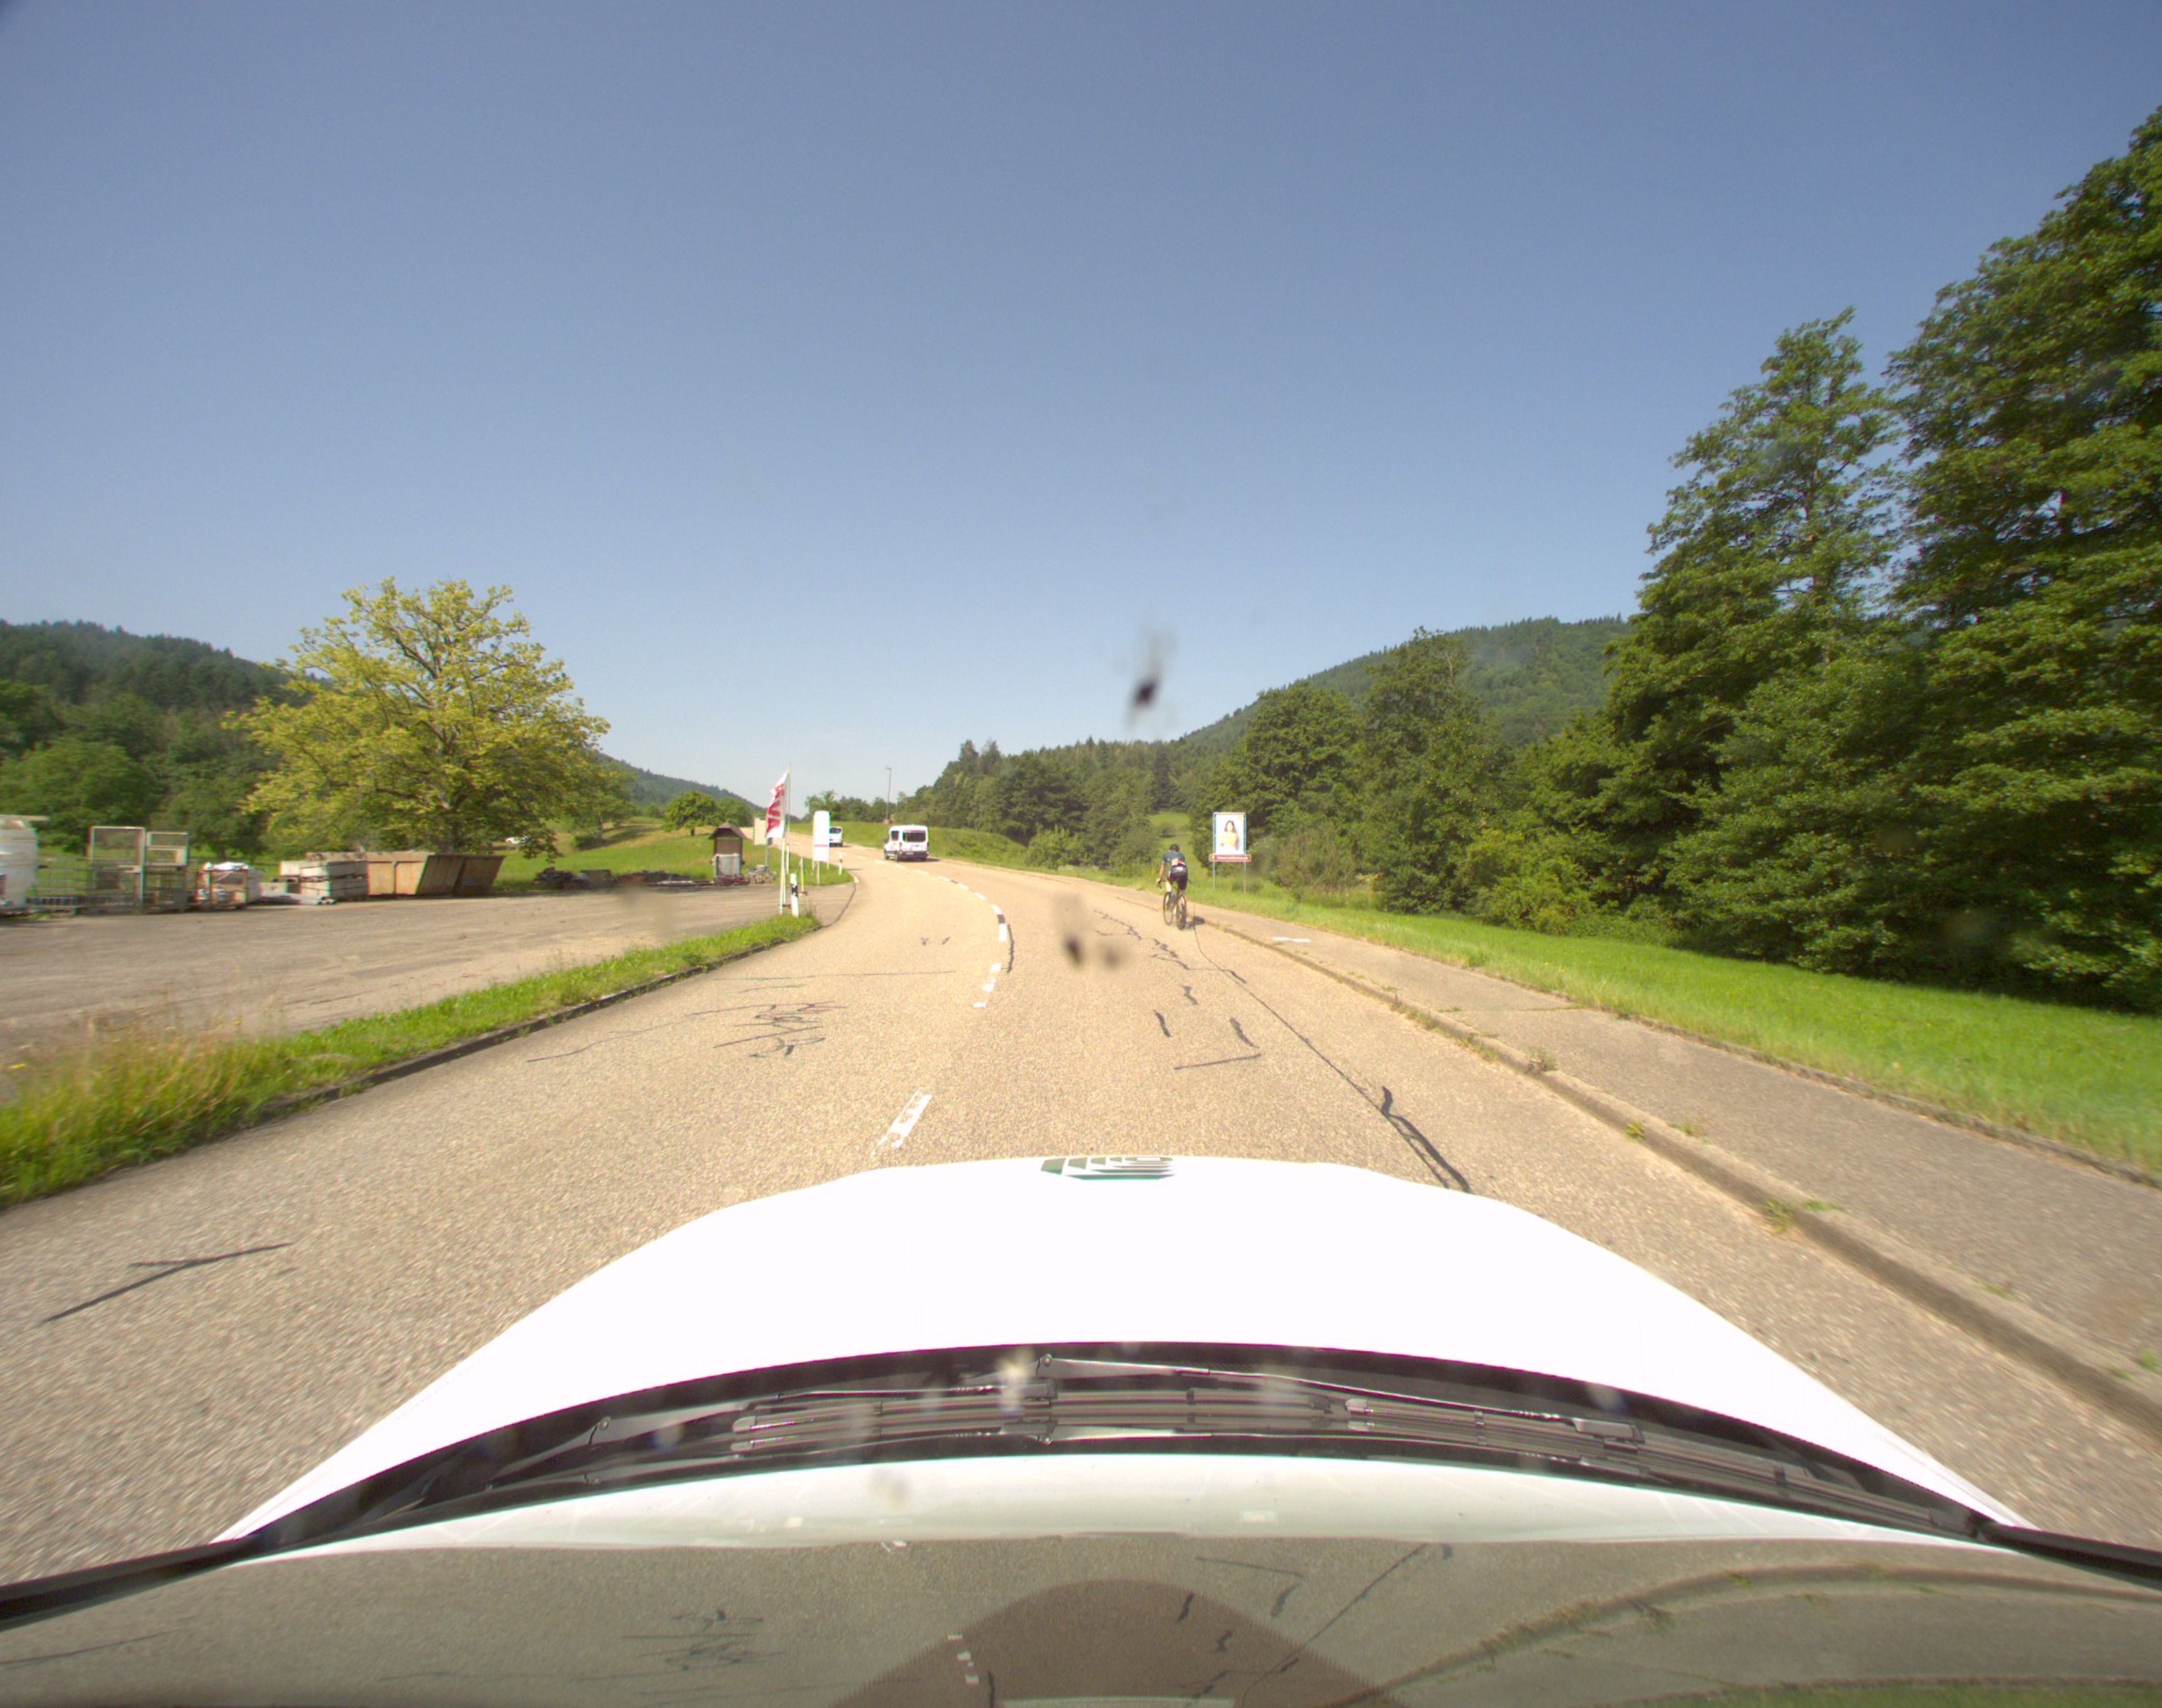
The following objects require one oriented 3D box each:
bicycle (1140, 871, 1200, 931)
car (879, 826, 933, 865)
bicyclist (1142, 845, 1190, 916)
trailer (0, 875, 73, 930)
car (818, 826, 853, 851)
[{"bbox_3d":[1.746,0.901,16.334,0.580,1.035,1.983,-3,1,-12],"label":"bicycle"},{"bbox_3d":[-12.126,-0.616,56.219,2.236,2.525,4.938,-3,2,-29],"label":"car"},{"bbox_3d":[1.680,0.499,16.144,0.580,1.342,1.140,-3,1,-12],"label":"bicyclist"},{"bbox_3d":[-21.382,0.836,14.797,3.915,0.939,1.869,2,-1,4],"label":"trailer"},{"bbox_3d":[-24.452,-1.542,80.959,2.237,2.286,4.937,-3,2,-30],"label":"car"}]
